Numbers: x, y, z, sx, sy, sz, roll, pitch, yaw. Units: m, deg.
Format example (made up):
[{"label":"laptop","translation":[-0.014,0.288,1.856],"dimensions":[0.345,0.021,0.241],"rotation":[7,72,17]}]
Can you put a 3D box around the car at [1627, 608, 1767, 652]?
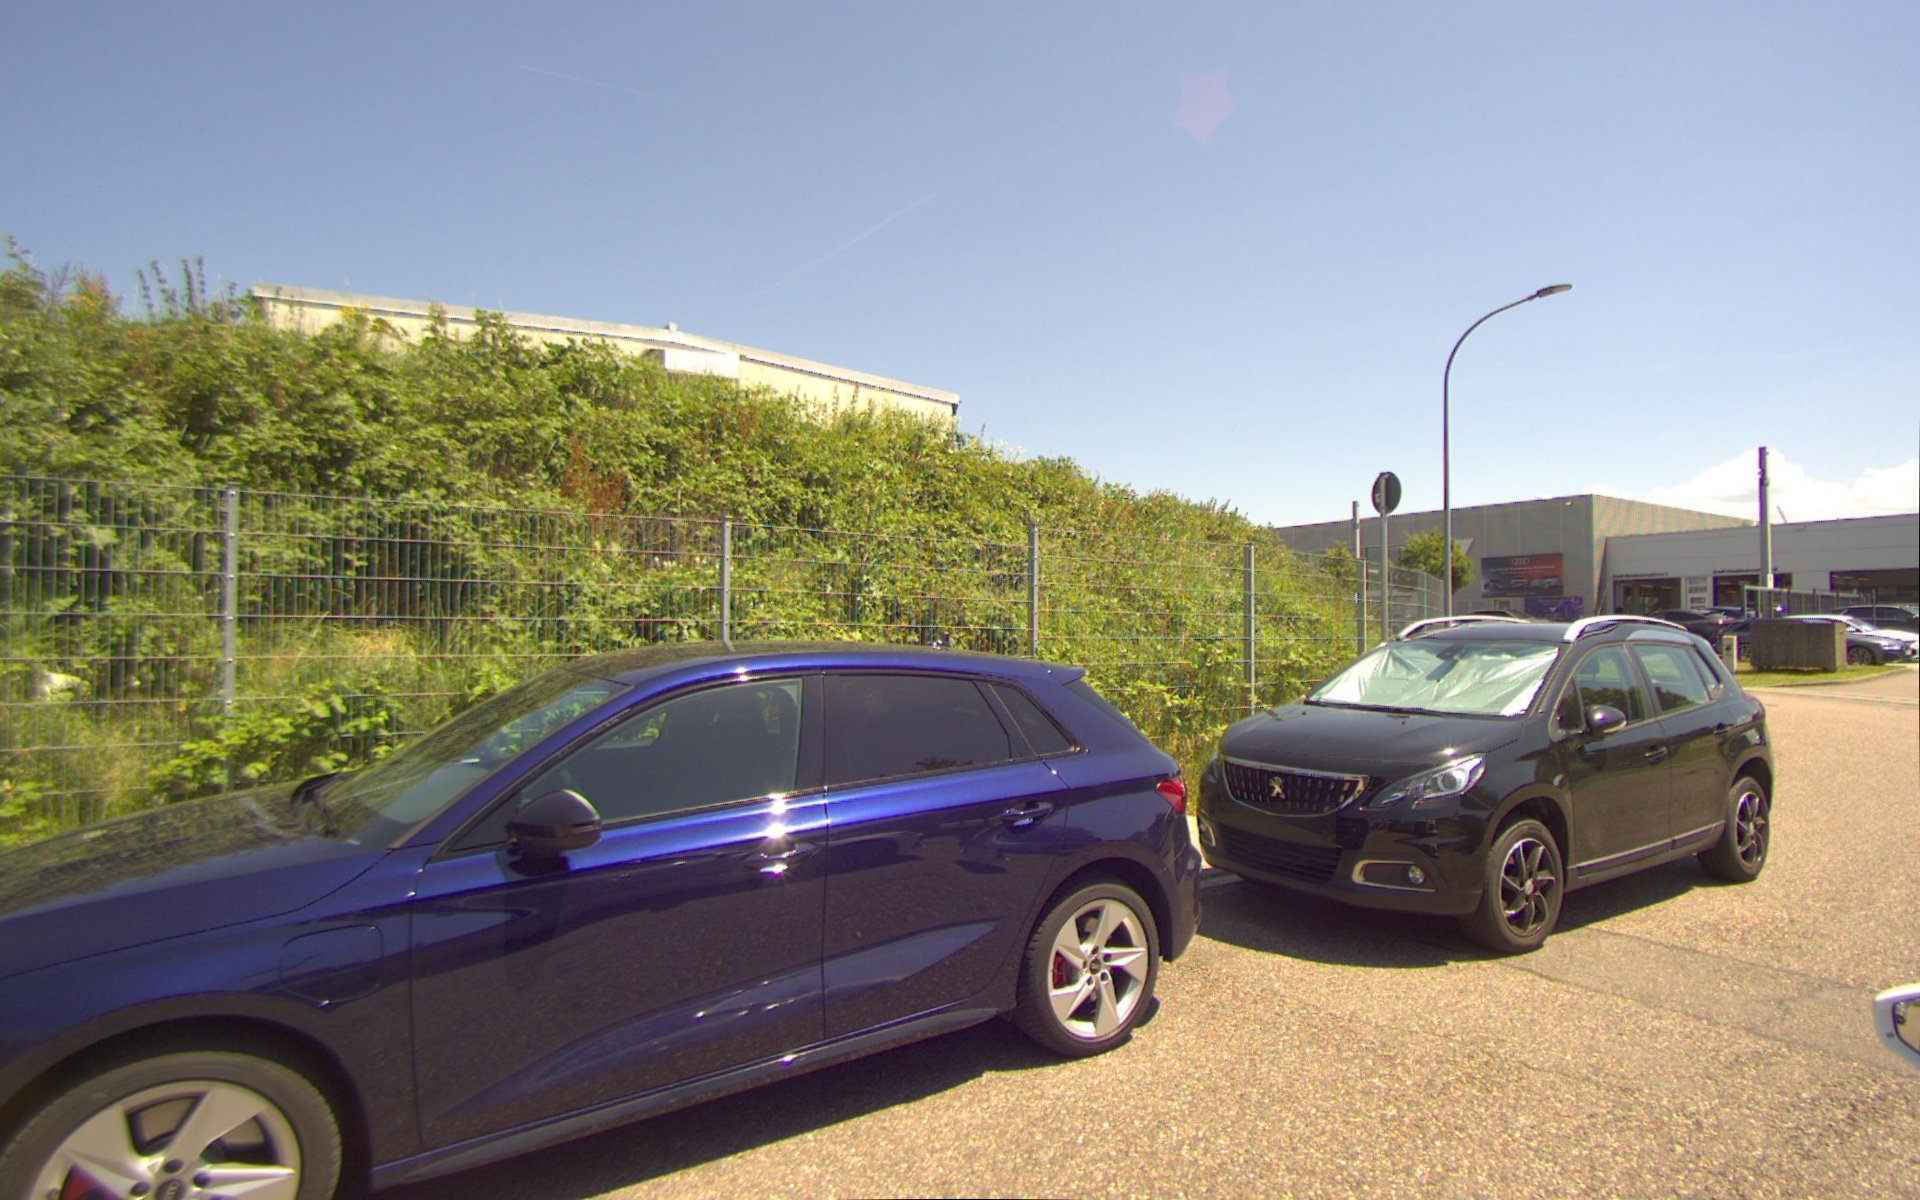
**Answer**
[{"label":"car","translation":[30.778,1.260,42.089],"dimensions":[1.811,1.717,4.376],"rotation":[1,-2,-33]}]

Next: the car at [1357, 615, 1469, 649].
[{"label":"car","translation":[22.973,1.615,51.131],"dimensions":[1.947,1.573,4.960],"rotation":[-1,-1,-34]}]

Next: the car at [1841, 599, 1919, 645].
[{"label":"car","translation":[35.494,0.797,36.709],"dimensions":[1.947,1.651,4.584],"rotation":[-1,-1,-34]}]

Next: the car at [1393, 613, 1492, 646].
[{"label":"car","translation":[25.166,1.536,52.526],"dimensions":[1.947,1.634,4.249],"rotation":[-1,-1,-34]}]

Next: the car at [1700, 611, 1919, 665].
[{"label":"car","translation":[26.362,1.165,31.349],"dimensions":[1.947,1.487,4.900],"rotation":[-1,-1,-34]}]

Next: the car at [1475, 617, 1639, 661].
[{"label":"car","translation":[22.247,1.418,37.637],"dimensions":[1.865,1.474,4.978],"rotation":[-2,-1,-34]}]

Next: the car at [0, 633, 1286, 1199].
[{"label":"car","translation":[-0.995,0.876,3.624],"dimensions":[4.237,1.474,1.923],"rotation":[1,-3,-34]}]

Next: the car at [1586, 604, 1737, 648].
[{"label":"car","translation":[28.545,1.081,41.020],"dimensions":[1.811,1.665,4.742],"rotation":[1,-2,-33]}]

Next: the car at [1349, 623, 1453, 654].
[{"label":"car","translation":[21.392,1.838,48.871],"dimensions":[1.947,1.393,4.272],"rotation":[-1,0,-34]}]

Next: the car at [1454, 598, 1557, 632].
[{"label":"car","translation":[30.392,0.847,56.057],"dimensions":[1.947,1.762,4.686],"rotation":[-1,-1,-34]}]

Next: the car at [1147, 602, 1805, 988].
[{"label":"car","translation":[3.184,0.855,5.938],"dimensions":[4.088,1.575,1.644],"rotation":[1,-3,-33]}]

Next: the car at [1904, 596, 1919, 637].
[{"label":"car","translation":[40.929,0.609,39.949],"dimensions":[1.947,1.651,4.584],"rotation":[-1,-1,-34]}]

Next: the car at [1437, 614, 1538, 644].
[{"label":"car","translation":[27.852,1.545,53.166],"dimensions":[1.947,1.496,4.332],"rotation":[-1,-1,-34]}]

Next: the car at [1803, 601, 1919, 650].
[{"label":"car","translation":[32.866,0.880,35.318],"dimensions":[1.947,1.651,4.584],"rotation":[-1,-1,-34]}]

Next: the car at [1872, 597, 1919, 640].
[{"label":"car","translation":[38.254,0.678,38.625],"dimensions":[1.947,1.651,4.338],"rotation":[-1,-1,-34]}]

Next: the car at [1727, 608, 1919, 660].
[{"label":"car","translation":[28.574,1.098,33.105],"dimensions":[1.806,1.549,4.900],"rotation":[-1,-1,-33]}]
